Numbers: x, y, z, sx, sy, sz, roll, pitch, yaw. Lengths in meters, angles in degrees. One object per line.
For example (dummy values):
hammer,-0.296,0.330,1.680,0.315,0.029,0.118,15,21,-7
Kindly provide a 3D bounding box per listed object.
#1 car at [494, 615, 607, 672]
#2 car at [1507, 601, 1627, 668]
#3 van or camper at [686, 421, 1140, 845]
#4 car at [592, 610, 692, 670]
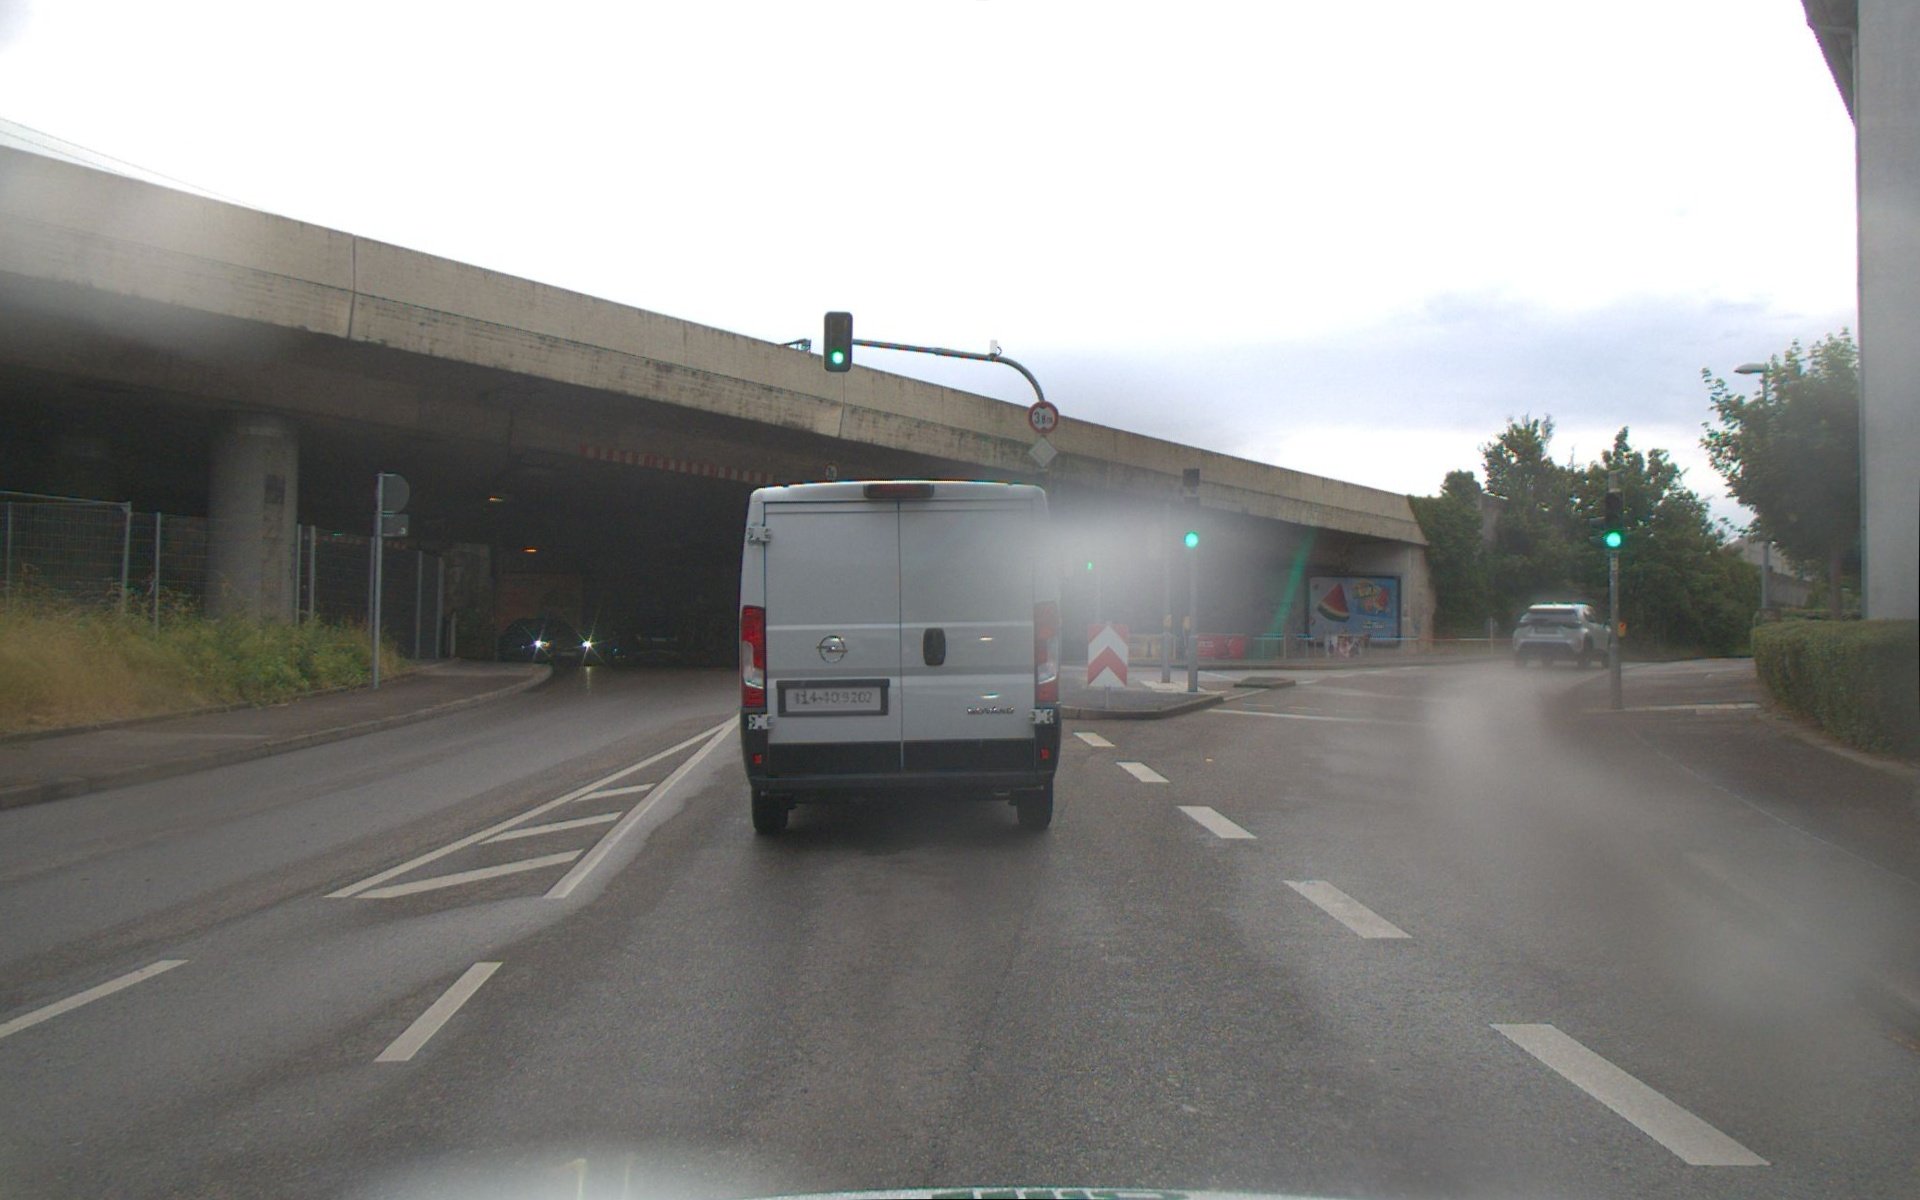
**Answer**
car,-12.312,1.276,49.512,1.975,1.557,4.450,1,0,-32
car,15.073,0.825,40.939,1.843,1.557,3.986,0,0,35
van or camper,-0.371,0.211,12.185,2.644,2.459,4.900,1,0,-3
car,-10.092,1.223,52.350,1.972,1.780,3.961,1,0,-29
